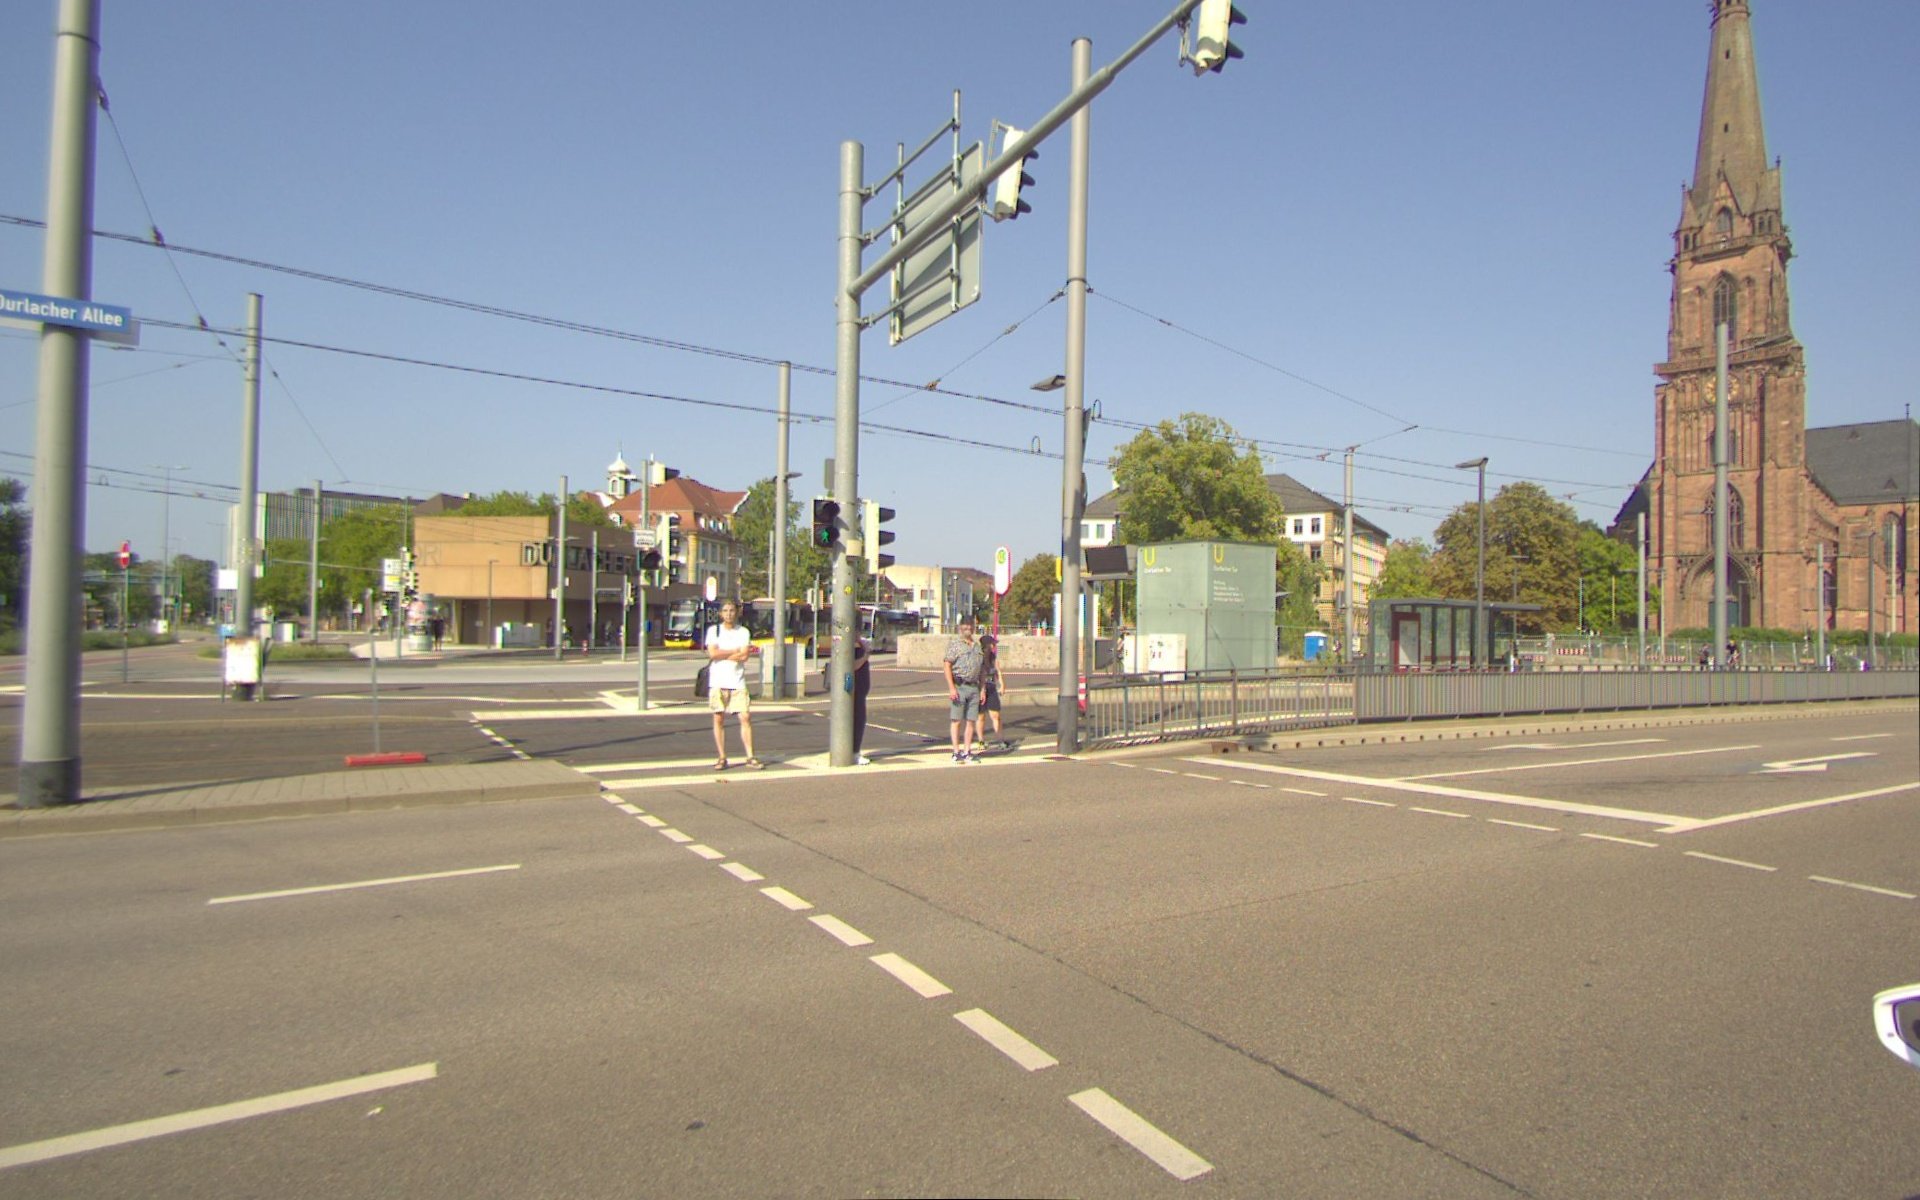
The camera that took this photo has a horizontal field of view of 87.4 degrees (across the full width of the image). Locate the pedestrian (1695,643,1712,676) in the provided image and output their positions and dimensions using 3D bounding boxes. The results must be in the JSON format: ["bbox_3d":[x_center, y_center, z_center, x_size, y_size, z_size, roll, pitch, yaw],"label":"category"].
[{"bbox_3d":[38.841,3.112,52.495,0.657,1.723,0.514,2,-2,-33],"label":"pedestrian"}]

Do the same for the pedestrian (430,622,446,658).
[{"bbox_3d":[-26.053,1.993,50.166,0.395,1.792,0.560,0,-2,15],"label":"pedestrian"}]

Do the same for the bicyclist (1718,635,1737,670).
[{"bbox_3d":[39.140,2.662,51.218,0.810,1.770,0.484,2,-2,-32],"label":"bicyclist"}]

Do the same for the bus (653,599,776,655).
[{"bbox_3d":[-16.666,1.918,69.808,3.159,3.464,13.327,0,-2,10],"label":"bus"}]

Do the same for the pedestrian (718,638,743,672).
[{"bbox_3d":[-8.819,2.110,38.590,0.752,1.309,0.558,0,-2,12],"label":"pedestrian"}]

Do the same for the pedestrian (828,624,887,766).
[{"bbox_3d":[-1.221,1.114,11.918,0.463,1.618,0.629,2,-4,-33],"label":"pedestrian"}]

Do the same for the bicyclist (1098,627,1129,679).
[{"bbox_3d":[5.025,1.731,32.886,0.782,1.678,0.584,2,-2,-32],"label":"bicyclist"}]

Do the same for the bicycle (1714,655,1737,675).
[{"bbox_3d":[39.038,3.313,51.222,1.676,0.966,0.348,2,-2,-32],"label":"bicycle"}]

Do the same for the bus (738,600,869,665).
[{"bbox_3d":[-8.443,1.844,56.888,3.159,3.220,13.327,0,-2,10],"label":"bus"}]

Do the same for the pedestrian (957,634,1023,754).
[{"bbox_3d":[0.399,1.258,13.582,0.541,1.568,0.804,2,-4,-30],"label":"pedestrian"}]

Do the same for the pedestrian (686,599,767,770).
[{"bbox_3d":[-2.608,0.926,11.177,0.719,1.811,0.831,1,-4,-24],"label":"pedestrian"}]

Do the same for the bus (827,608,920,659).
[{"bbox_3d":[-5.820,2.370,70.978,3.159,3.220,13.327,0,-2,10],"label":"bus"}]

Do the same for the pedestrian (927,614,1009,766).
[{"bbox_3d":[0.085,1.055,11.922,0.644,1.714,0.810,2,-4,-31],"label":"pedestrian"}]

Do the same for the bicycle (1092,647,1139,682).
[{"bbox_3d":[5.101,2.106,32.893,1.728,1.124,0.399,2,-2,-33],"label":"bicycle"}]
